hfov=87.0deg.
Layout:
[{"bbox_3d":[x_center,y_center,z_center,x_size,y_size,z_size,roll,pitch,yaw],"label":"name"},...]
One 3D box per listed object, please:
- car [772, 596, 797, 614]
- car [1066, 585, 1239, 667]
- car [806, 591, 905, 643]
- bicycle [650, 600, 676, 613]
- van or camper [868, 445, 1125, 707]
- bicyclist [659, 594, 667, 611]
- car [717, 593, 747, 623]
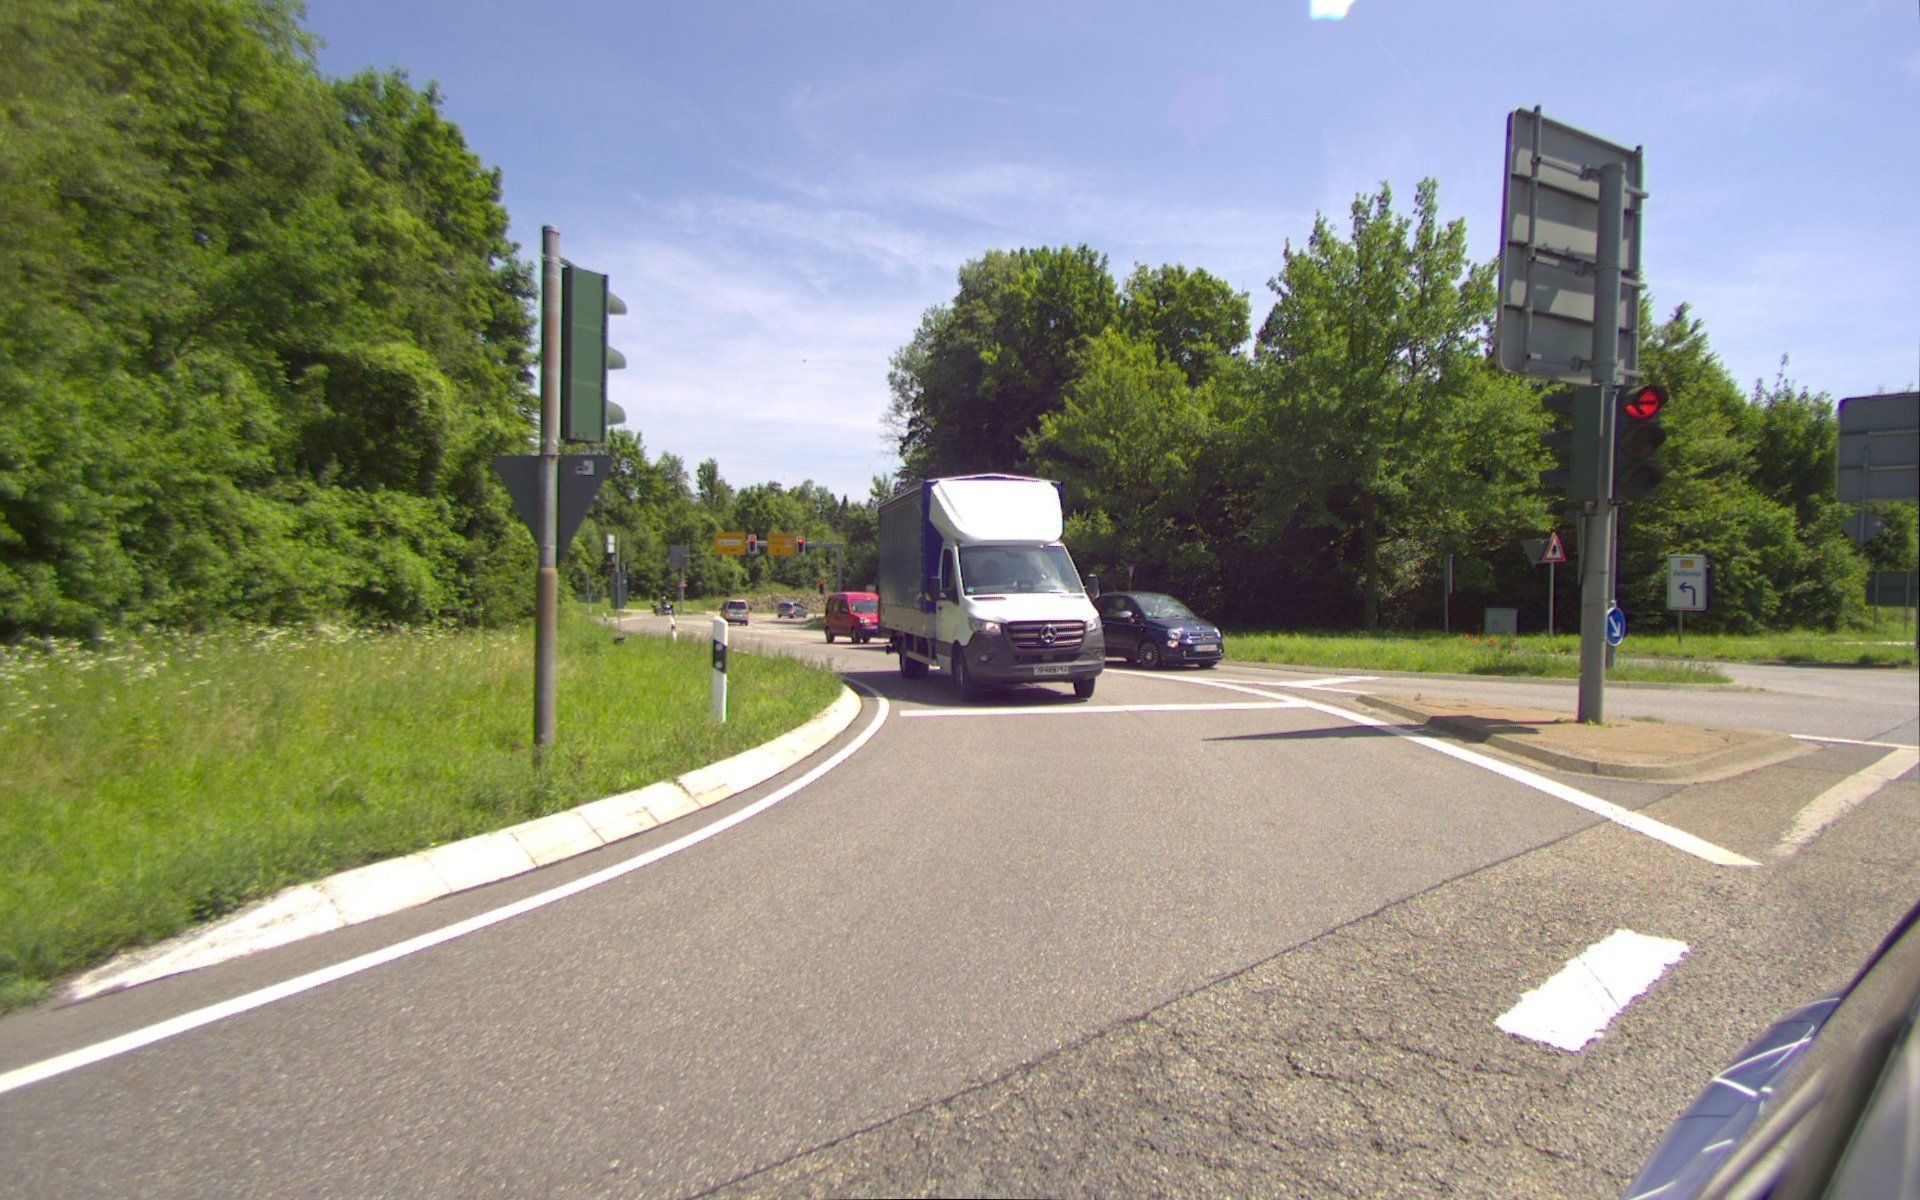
[{"bbox_3d":[-17.047,0.448,98.505,1.961,1.683,4.003,0,0,-3],"label":"car"},{"bbox_3d":[3.753,0.466,20.246,1.655,1.484,3.363,0,0,-28],"label":"car"},{"bbox_3d":[-3.796,0.533,35.778,1.812,1.627,5.130,0,1,-26],"label":"car"},{"bbox_3d":[-24.955,0.563,85.064,2.082,1.021,0.601,0,0,-27],"label":"bicycle"},{"bbox_3d":[0.174,-0.356,16.321,2.060,3.252,7.269,0,1,-15],"label":"van or camper"},{"bbox_3d":[-24.969,0.206,85.102,0.568,1.483,0.585,0,0,-27],"label":"bicyclist"},{"bbox_3d":[-16.401,0.533,72.742,1.958,2.039,4.008,1,1,-14],"label":"car"}]
